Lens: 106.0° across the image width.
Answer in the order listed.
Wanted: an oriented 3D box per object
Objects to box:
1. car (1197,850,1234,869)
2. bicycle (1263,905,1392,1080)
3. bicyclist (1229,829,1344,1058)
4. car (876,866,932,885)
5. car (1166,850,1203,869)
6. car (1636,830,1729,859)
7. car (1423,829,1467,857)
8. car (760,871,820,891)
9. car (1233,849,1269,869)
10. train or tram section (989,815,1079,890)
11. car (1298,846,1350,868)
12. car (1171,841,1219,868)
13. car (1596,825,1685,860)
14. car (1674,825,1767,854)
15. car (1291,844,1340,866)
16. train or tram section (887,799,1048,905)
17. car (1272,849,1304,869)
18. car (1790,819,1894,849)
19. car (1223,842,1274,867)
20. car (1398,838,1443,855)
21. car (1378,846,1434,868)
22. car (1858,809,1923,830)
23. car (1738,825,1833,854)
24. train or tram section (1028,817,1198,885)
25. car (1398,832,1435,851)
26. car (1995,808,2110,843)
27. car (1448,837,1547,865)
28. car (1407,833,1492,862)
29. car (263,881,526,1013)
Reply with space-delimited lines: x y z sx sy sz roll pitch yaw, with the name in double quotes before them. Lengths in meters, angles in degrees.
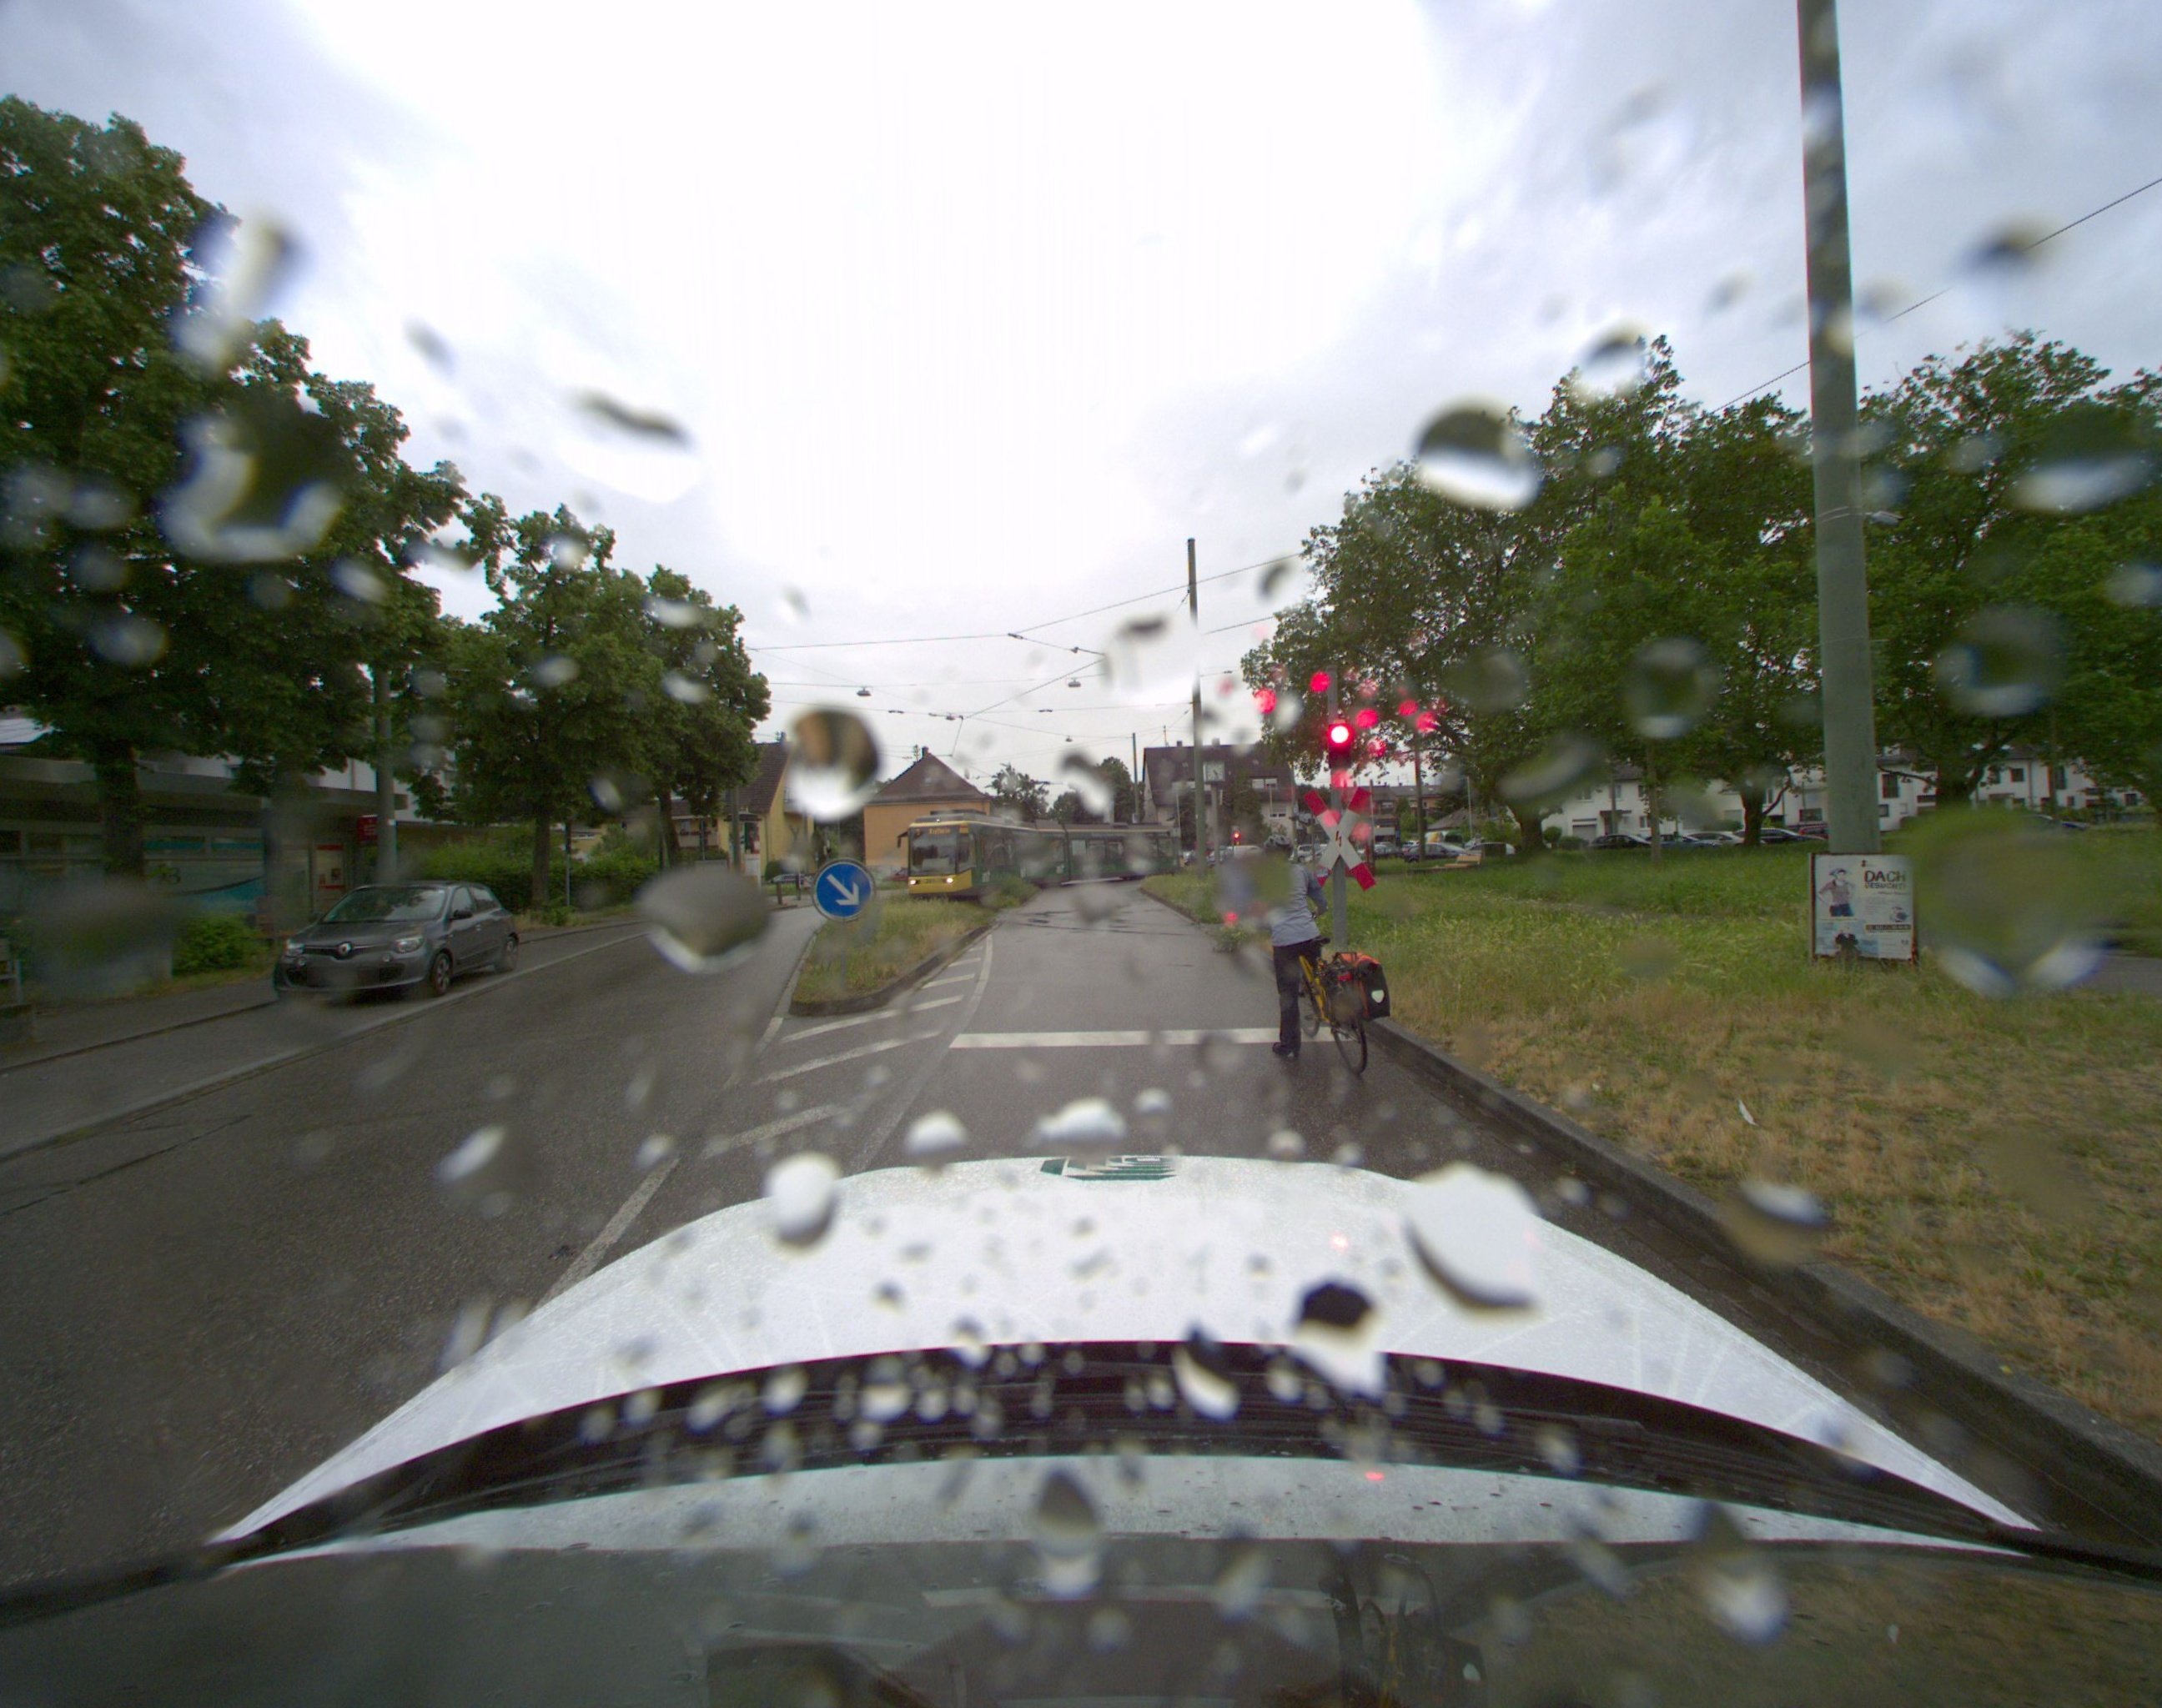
"car" 11.623 0.479 70.246 1.975 1.640 4.024 -1 -1 27
"bicycle" 1.789 0.950 6.138 0.444 1.004 1.728 -2 0 1
"bicyclist" 1.541 0.644 6.235 0.665 1.626 0.853 0 -1 0
"car" -13.666 1.660 63.071 3.979 1.456 1.831 0 -1 -5
"car" 9.091 0.509 71.476 1.975 1.640 4.024 -1 -1 27
"car" 33.198 -0.514 44.991 1.821 1.495 3.867 0 -1 -44
"car" 32.570 -0.968 72.994 1.987 2.443 4.354 0 -1 1
"car" -22.112 2.039 62.026 3.979 1.456 1.831 0 -1 -5
"car" 14.738 0.458 70.391 1.975 1.640 4.024 -1 -1 27
"train or tram section" -2.357 -0.094 42.432 2.737 3.553 5.014 -3 -1 20
"car" 19.309 0.257 64.809 3.670 1.701 1.891 0 -1 2
"car" 11.175 0.023 79.717 4.362 2.566 2.008 -1 -1 16
"car" 30.536 -0.609 44.533 1.821 1.798 3.721 0 -1 -44
"car" 35.701 -0.751 45.521 1.821 1.495 3.867 0 -1 -44
"car" 21.806 0.086 75.928 3.974 1.951 1.999 0 -1 -1
"train or tram section" -4.221 -0.070 34.355 2.743 3.553 12.240 -3 -1 11
"car" 17.971 0.438 70.704 1.823 1.640 4.024 -1 -1 27
"car" 42.623 -1.085 45.682 1.814 1.495 3.881 0 -1 -27
"car" 15.624 0.075 76.040 4.381 2.325 1.999 0 -1 -1
"car" 35.420 -0.776 84.946 3.971 1.640 1.847 0 -1 2
"car" 25.890 0.211 64.953 3.670 1.701 1.891 0 -1 2
"car" 69.993 -2.995 70.453 3.670 1.660 1.891 0 -1 2
"car" 39.260 -0.778 45.408 1.821 1.495 3.867 0 -1 -44
"train or tram section" 2.382 -0.284 49.320 2.734 3.553 13.216 -3 -1 39
"car" 39.115 -1.431 95.044 1.998 2.014 3.978 0 -1 -16
"car" 54.629 -1.574 45.859 1.815 1.765 3.879 0 -1 -29
"car" 20.499 -0.127 40.247 3.964 1.285 1.851 0 -1 9
"car" 20.254 -0.320 44.901 1.821 1.495 3.867 0 -1 -44
"car" -9.688 1.192 11.878 1.621 1.496 3.645 0 -1 -18
